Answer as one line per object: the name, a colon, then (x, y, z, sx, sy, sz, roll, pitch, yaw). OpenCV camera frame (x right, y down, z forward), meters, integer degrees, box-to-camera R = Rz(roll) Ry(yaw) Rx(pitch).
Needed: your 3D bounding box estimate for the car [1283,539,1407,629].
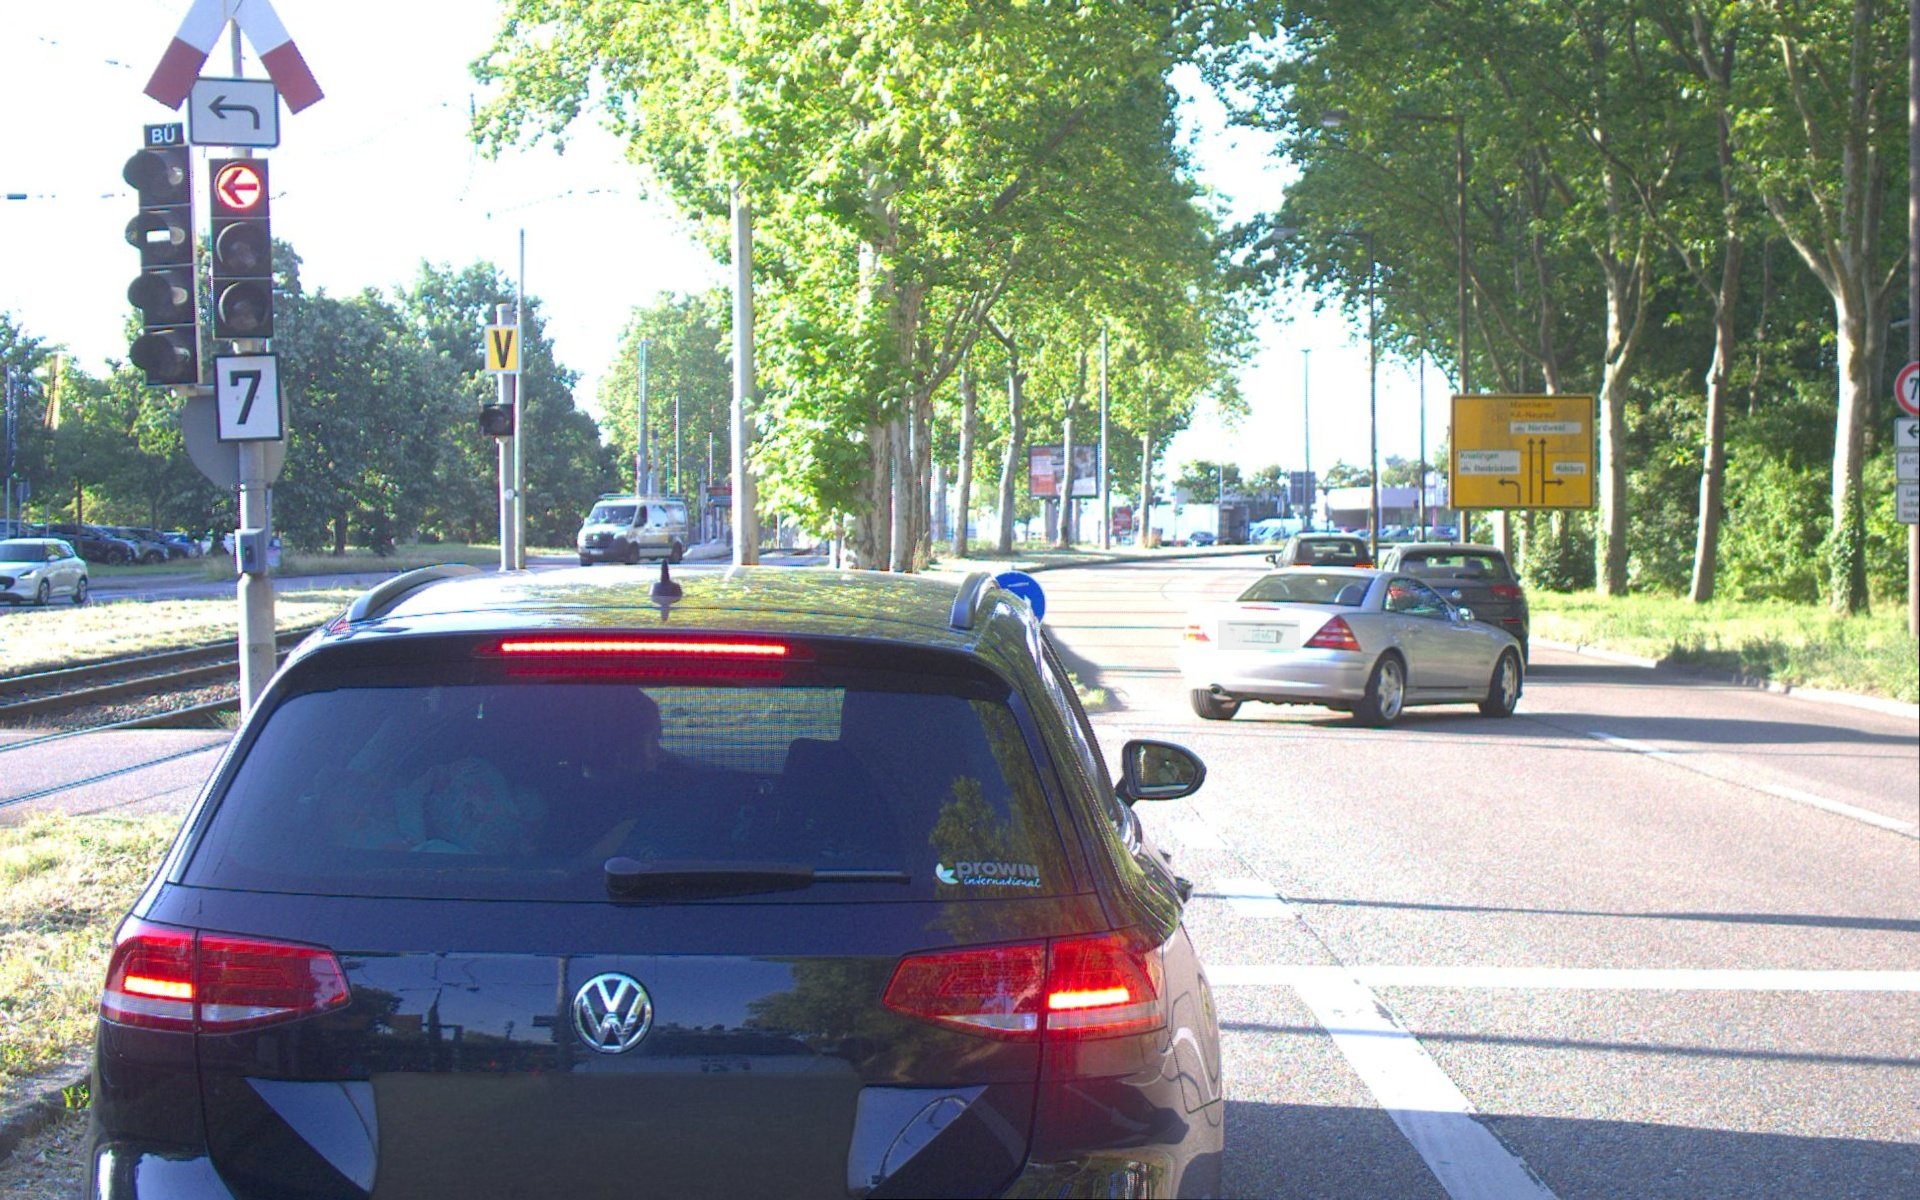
car: (7.172, -0.319, 64.405, 1.872, 1.629, 4.370, 0, 1, 1)

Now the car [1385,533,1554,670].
car: (6.110, -0.023, 41.565, 1.707, 1.555, 4.166, 0, 1, 4)

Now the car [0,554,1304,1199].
car: (-0.477, 0.664, 6.414, 1.795, 1.459, 3.583, 1, 1, -1)

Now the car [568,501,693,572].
car: (-11.794, -2.275, 123.531, 2.097, 2.453, 5.846, 1, 1, 21)

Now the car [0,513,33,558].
car: (-35.910, -2.358, 125.005, 3.986, 1.615, 1.744, 1, 1, -5)

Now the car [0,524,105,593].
car: (-20.966, -0.950, 77.438, 1.862, 1.476, 4.090, 1, 1, 9)

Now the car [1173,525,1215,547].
car: (15.575, -4.263, 228.991, 1.993, 1.415, 4.001, 0, 1, -8)

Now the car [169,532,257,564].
car: (-36.501, -2.541, 167.987, 3.986, 1.550, 1.744, 1, 1, -4)

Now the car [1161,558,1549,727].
car: (3.397, 0.316, 28.979, 1.612, 1.290, 3.975, 2, 1, 33)
